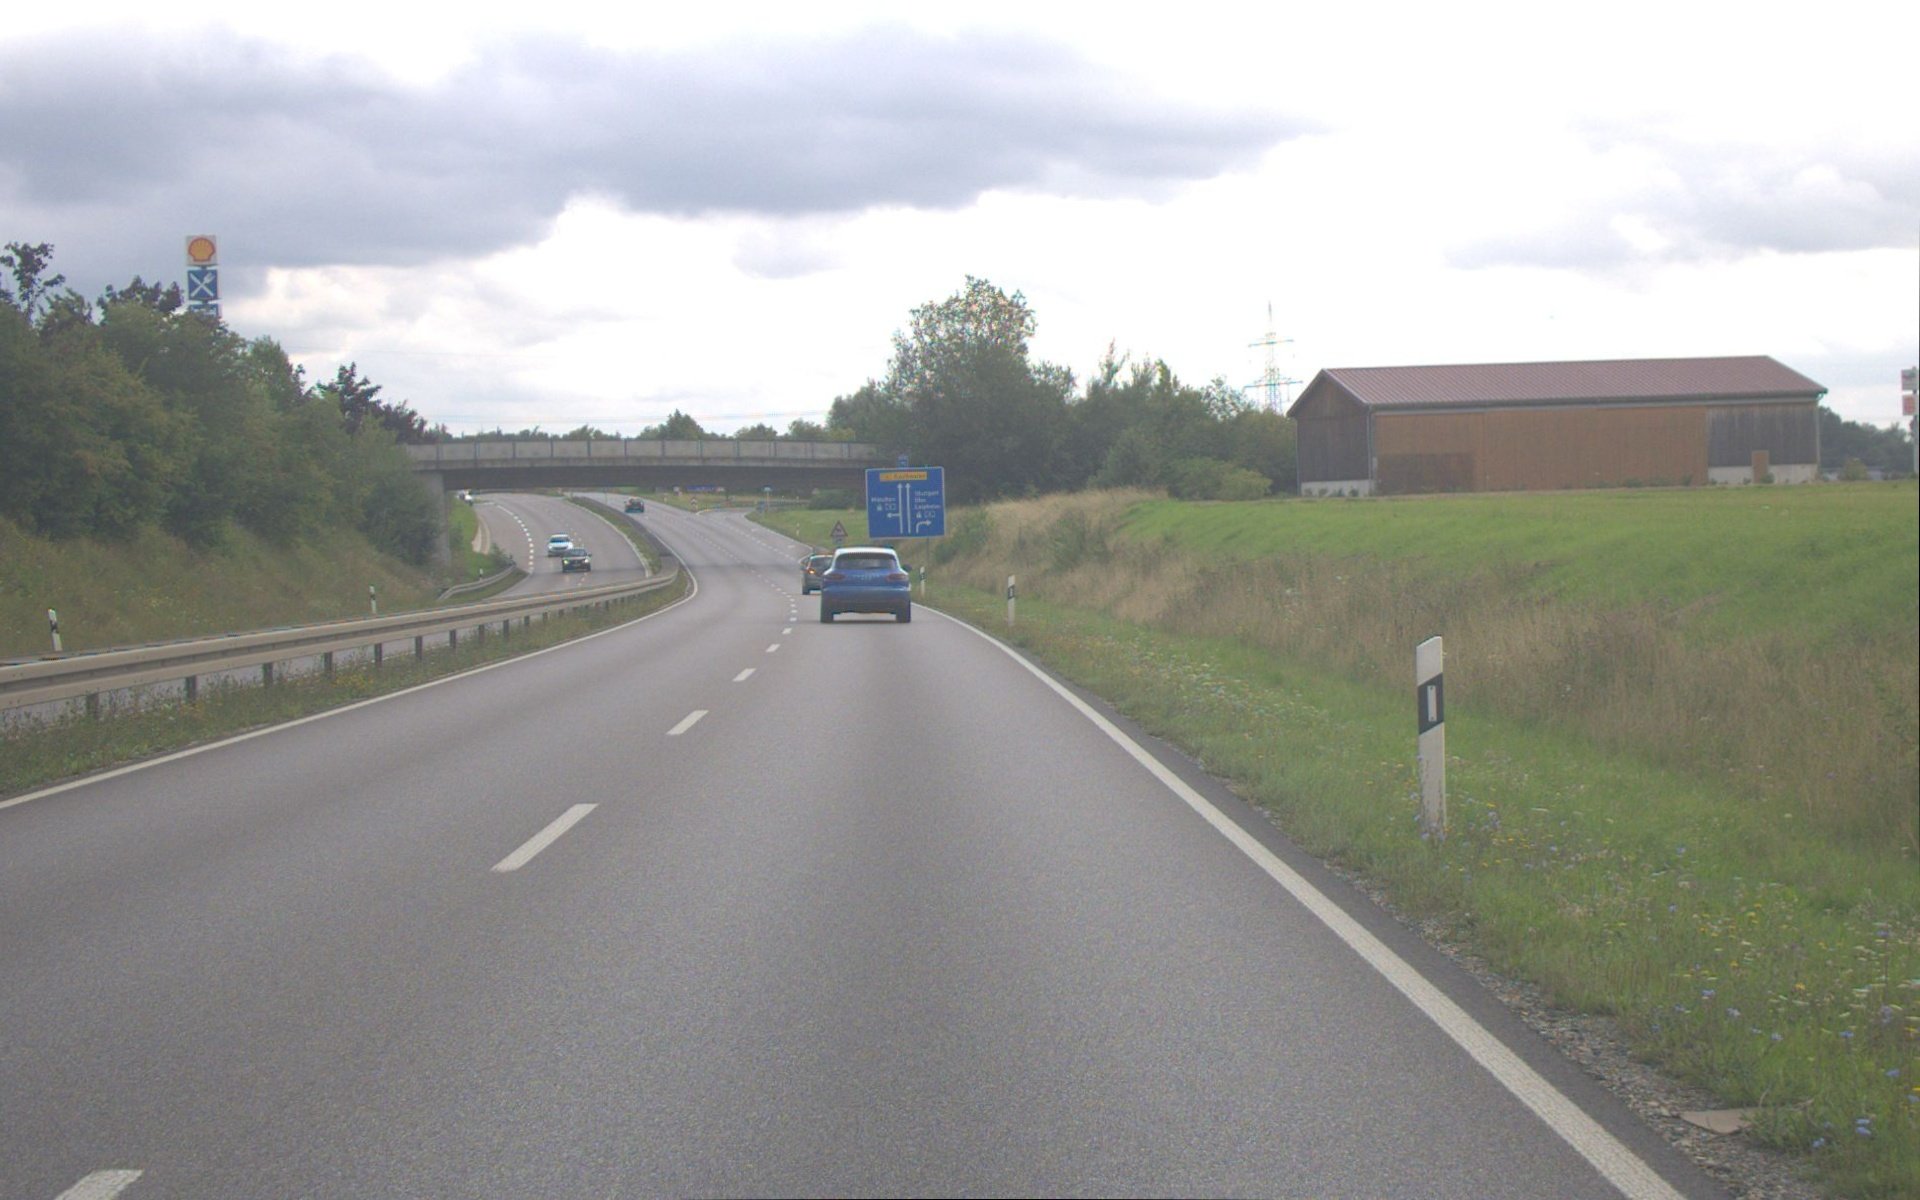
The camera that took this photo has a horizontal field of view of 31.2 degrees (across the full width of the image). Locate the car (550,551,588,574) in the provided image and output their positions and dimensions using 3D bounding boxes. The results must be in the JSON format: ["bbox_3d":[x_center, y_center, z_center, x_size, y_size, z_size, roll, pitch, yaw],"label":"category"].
[{"bbox_3d":[-24.036,-2.309,211.525,1.993,1.300,4.823,-2,1,-3],"label":"car"}]

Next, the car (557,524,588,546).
[{"bbox_3d":[-27.679,-4.669,245.635,1.993,1.448,4.001,-2,2,-3],"label":"car"}]

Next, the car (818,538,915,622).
[{"bbox_3d":[-2.050,-0.464,74.551,2.033,1.654,4.544,0,2,-2],"label":"car"}]

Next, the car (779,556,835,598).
[{"bbox_3d":[-5.861,-0.890,131.506,1.917,1.448,4.365,-2,2,-5],"label":"car"}]
